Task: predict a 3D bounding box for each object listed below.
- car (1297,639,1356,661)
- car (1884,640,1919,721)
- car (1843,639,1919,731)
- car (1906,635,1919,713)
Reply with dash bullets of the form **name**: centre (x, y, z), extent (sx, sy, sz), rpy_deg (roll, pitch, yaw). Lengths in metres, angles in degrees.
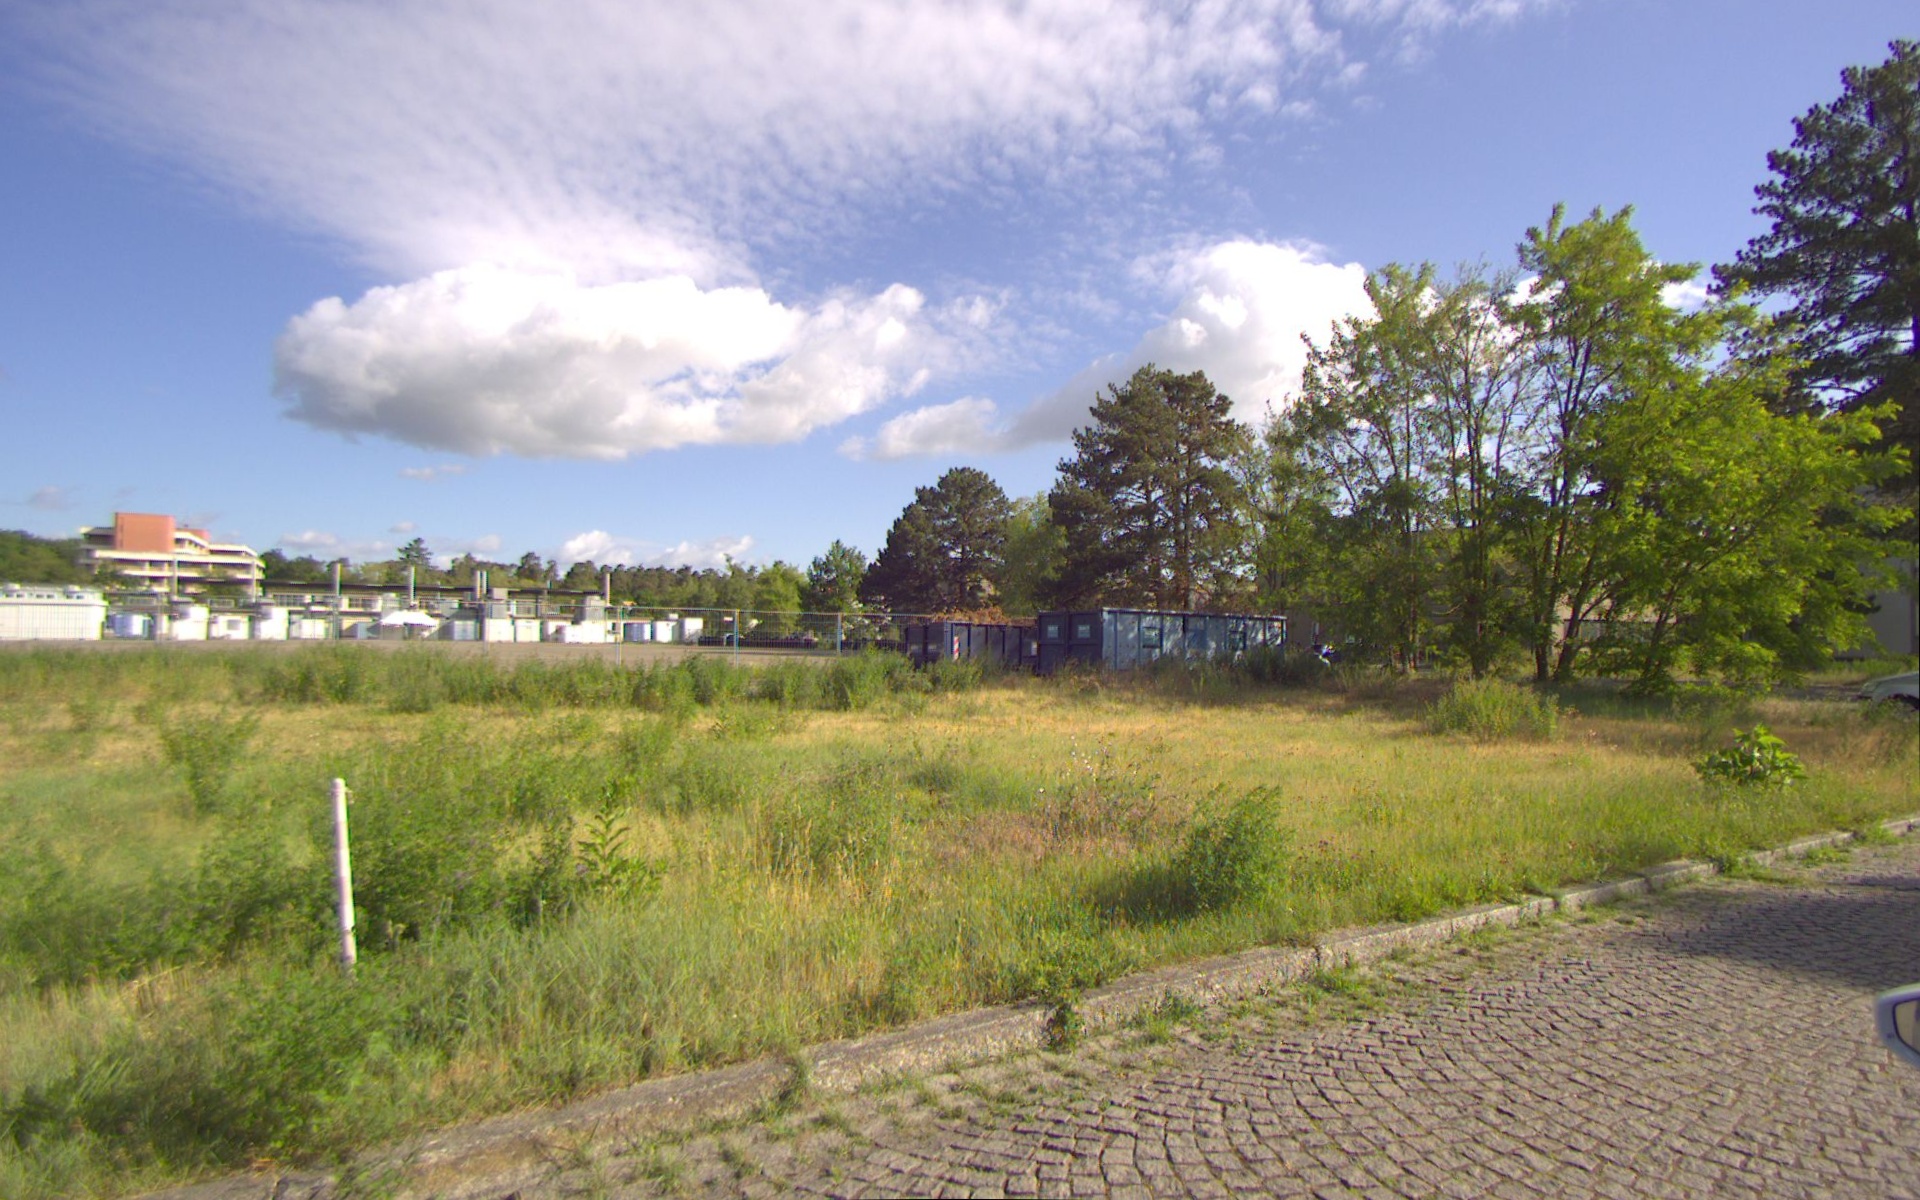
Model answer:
- **car**: centre (26.413, 3.596, 72.342), extent (3.954, 1.452, 1.893), rpy_deg (3, -3, -31)
- **car**: centre (19.546, 1.560, 18.079), extent (1.784, 1.500, 3.963), rpy_deg (1, 0, -33)
- **car**: centre (17.366, 1.486, 16.703), extent (1.628, 1.507, 3.724), rpy_deg (1, 0, -33)
- **car**: centre (21.860, 1.608, 20.006), extent (1.865, 1.614, 4.056), rpy_deg (1, 0, -33)
